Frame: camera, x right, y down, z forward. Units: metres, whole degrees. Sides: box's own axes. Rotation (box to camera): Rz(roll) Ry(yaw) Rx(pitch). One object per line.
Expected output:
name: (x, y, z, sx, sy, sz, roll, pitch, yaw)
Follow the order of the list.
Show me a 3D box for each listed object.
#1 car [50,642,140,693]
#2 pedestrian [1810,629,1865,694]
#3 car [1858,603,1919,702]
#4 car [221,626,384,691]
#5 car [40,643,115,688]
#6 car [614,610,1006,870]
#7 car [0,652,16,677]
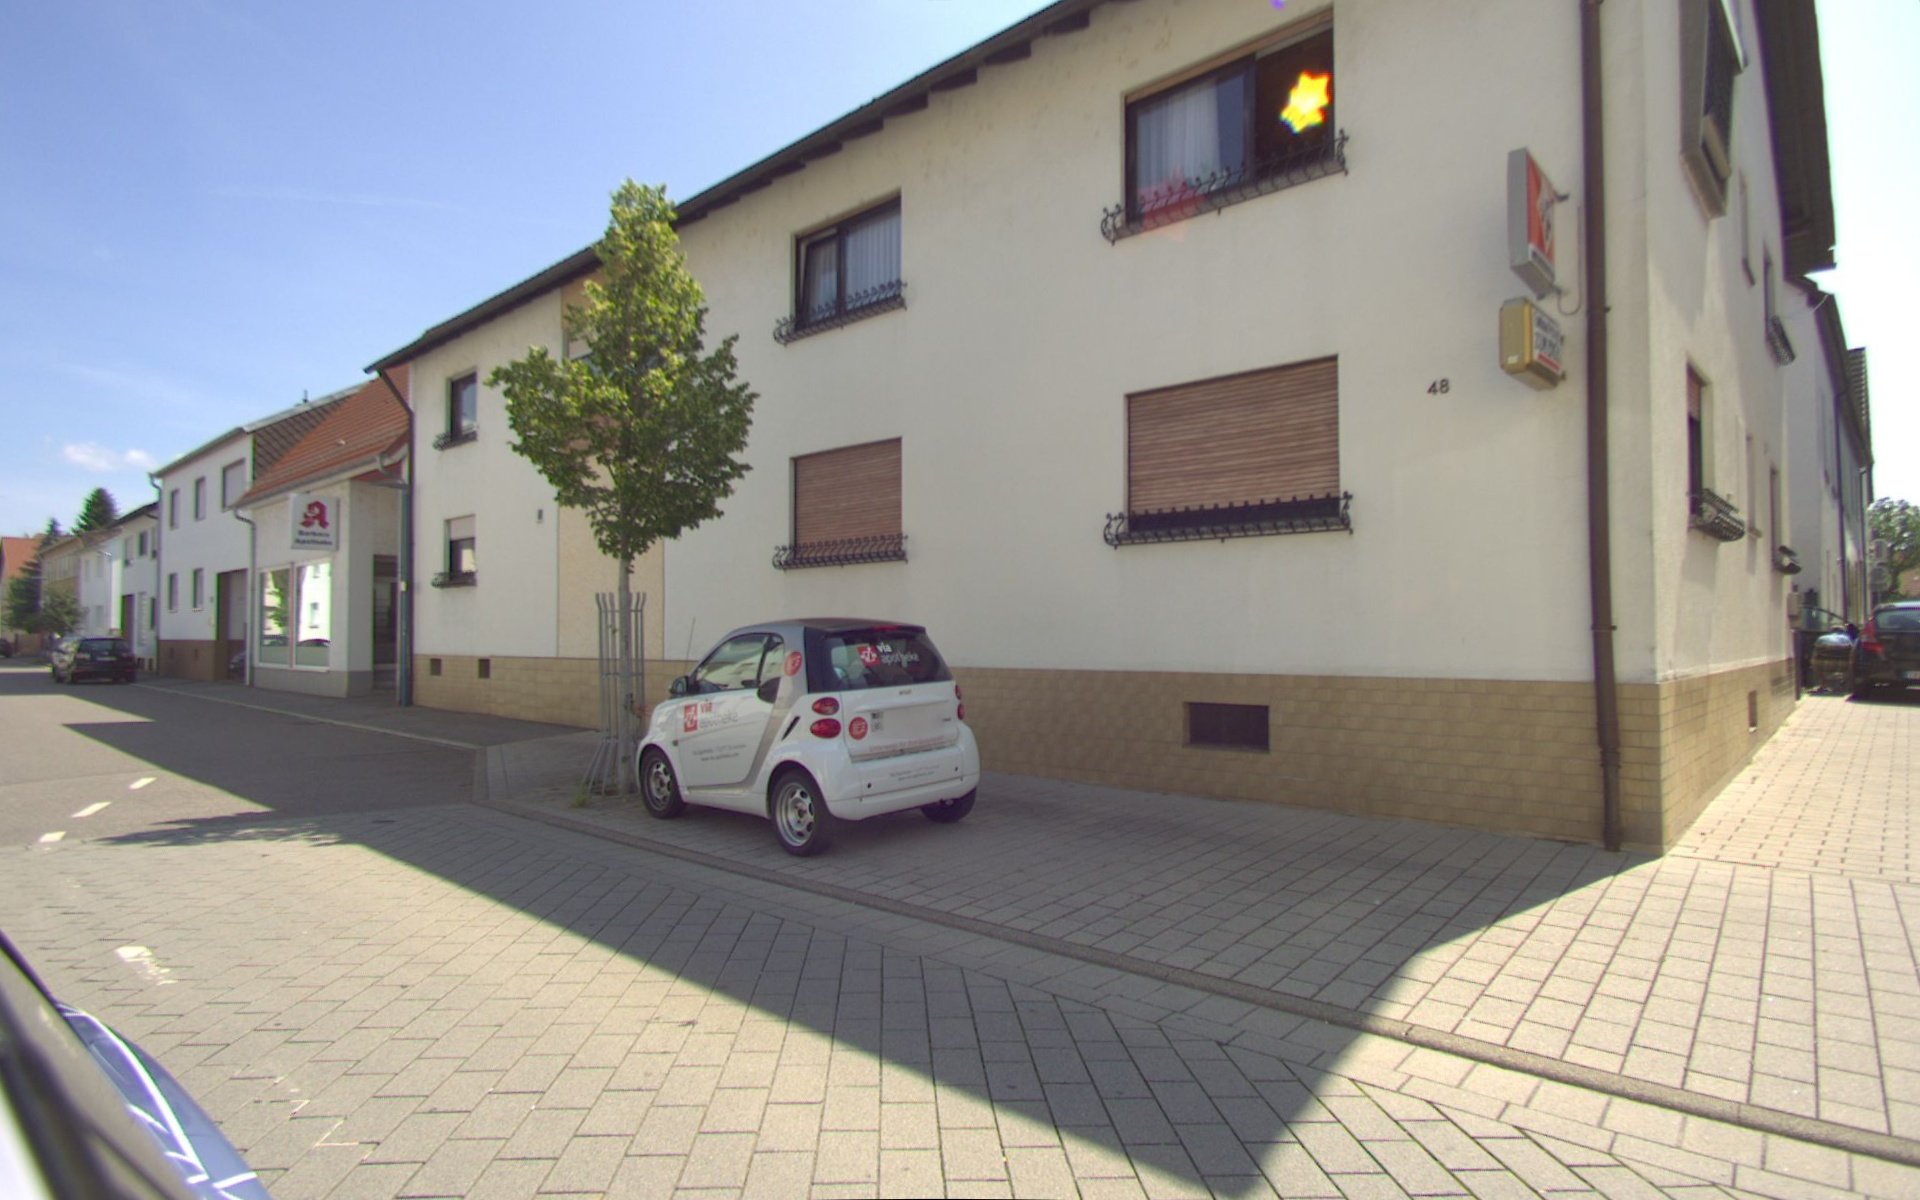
car: (-29.124, 2.227, 34.043, 3.953, 1.578, 1.729, -2, -3, 41)
pedestrian: (14.311, 0.988, 16.497, 0.631, 1.015, 0.806, -2, -1, 43)
car: (15.407, 0.781, 15.837, 1.846, 1.429, 3.942, -2, -3, 44)
car: (-20.393, 1.771, 31.493, 1.815, 1.731, 3.942, -2, -1, 44)
car: (-34.094, 2.469, 39.075, 4.120, 1.630, 1.735, -2, -3, 43)
car: (-1.237, 0.908, 7.821, 2.822, 1.573, 1.555, -2, 0, 43)
car: (-69.386, 4.654, 72.838, 4.001, 1.711, 1.826, -2, -3, 44)
